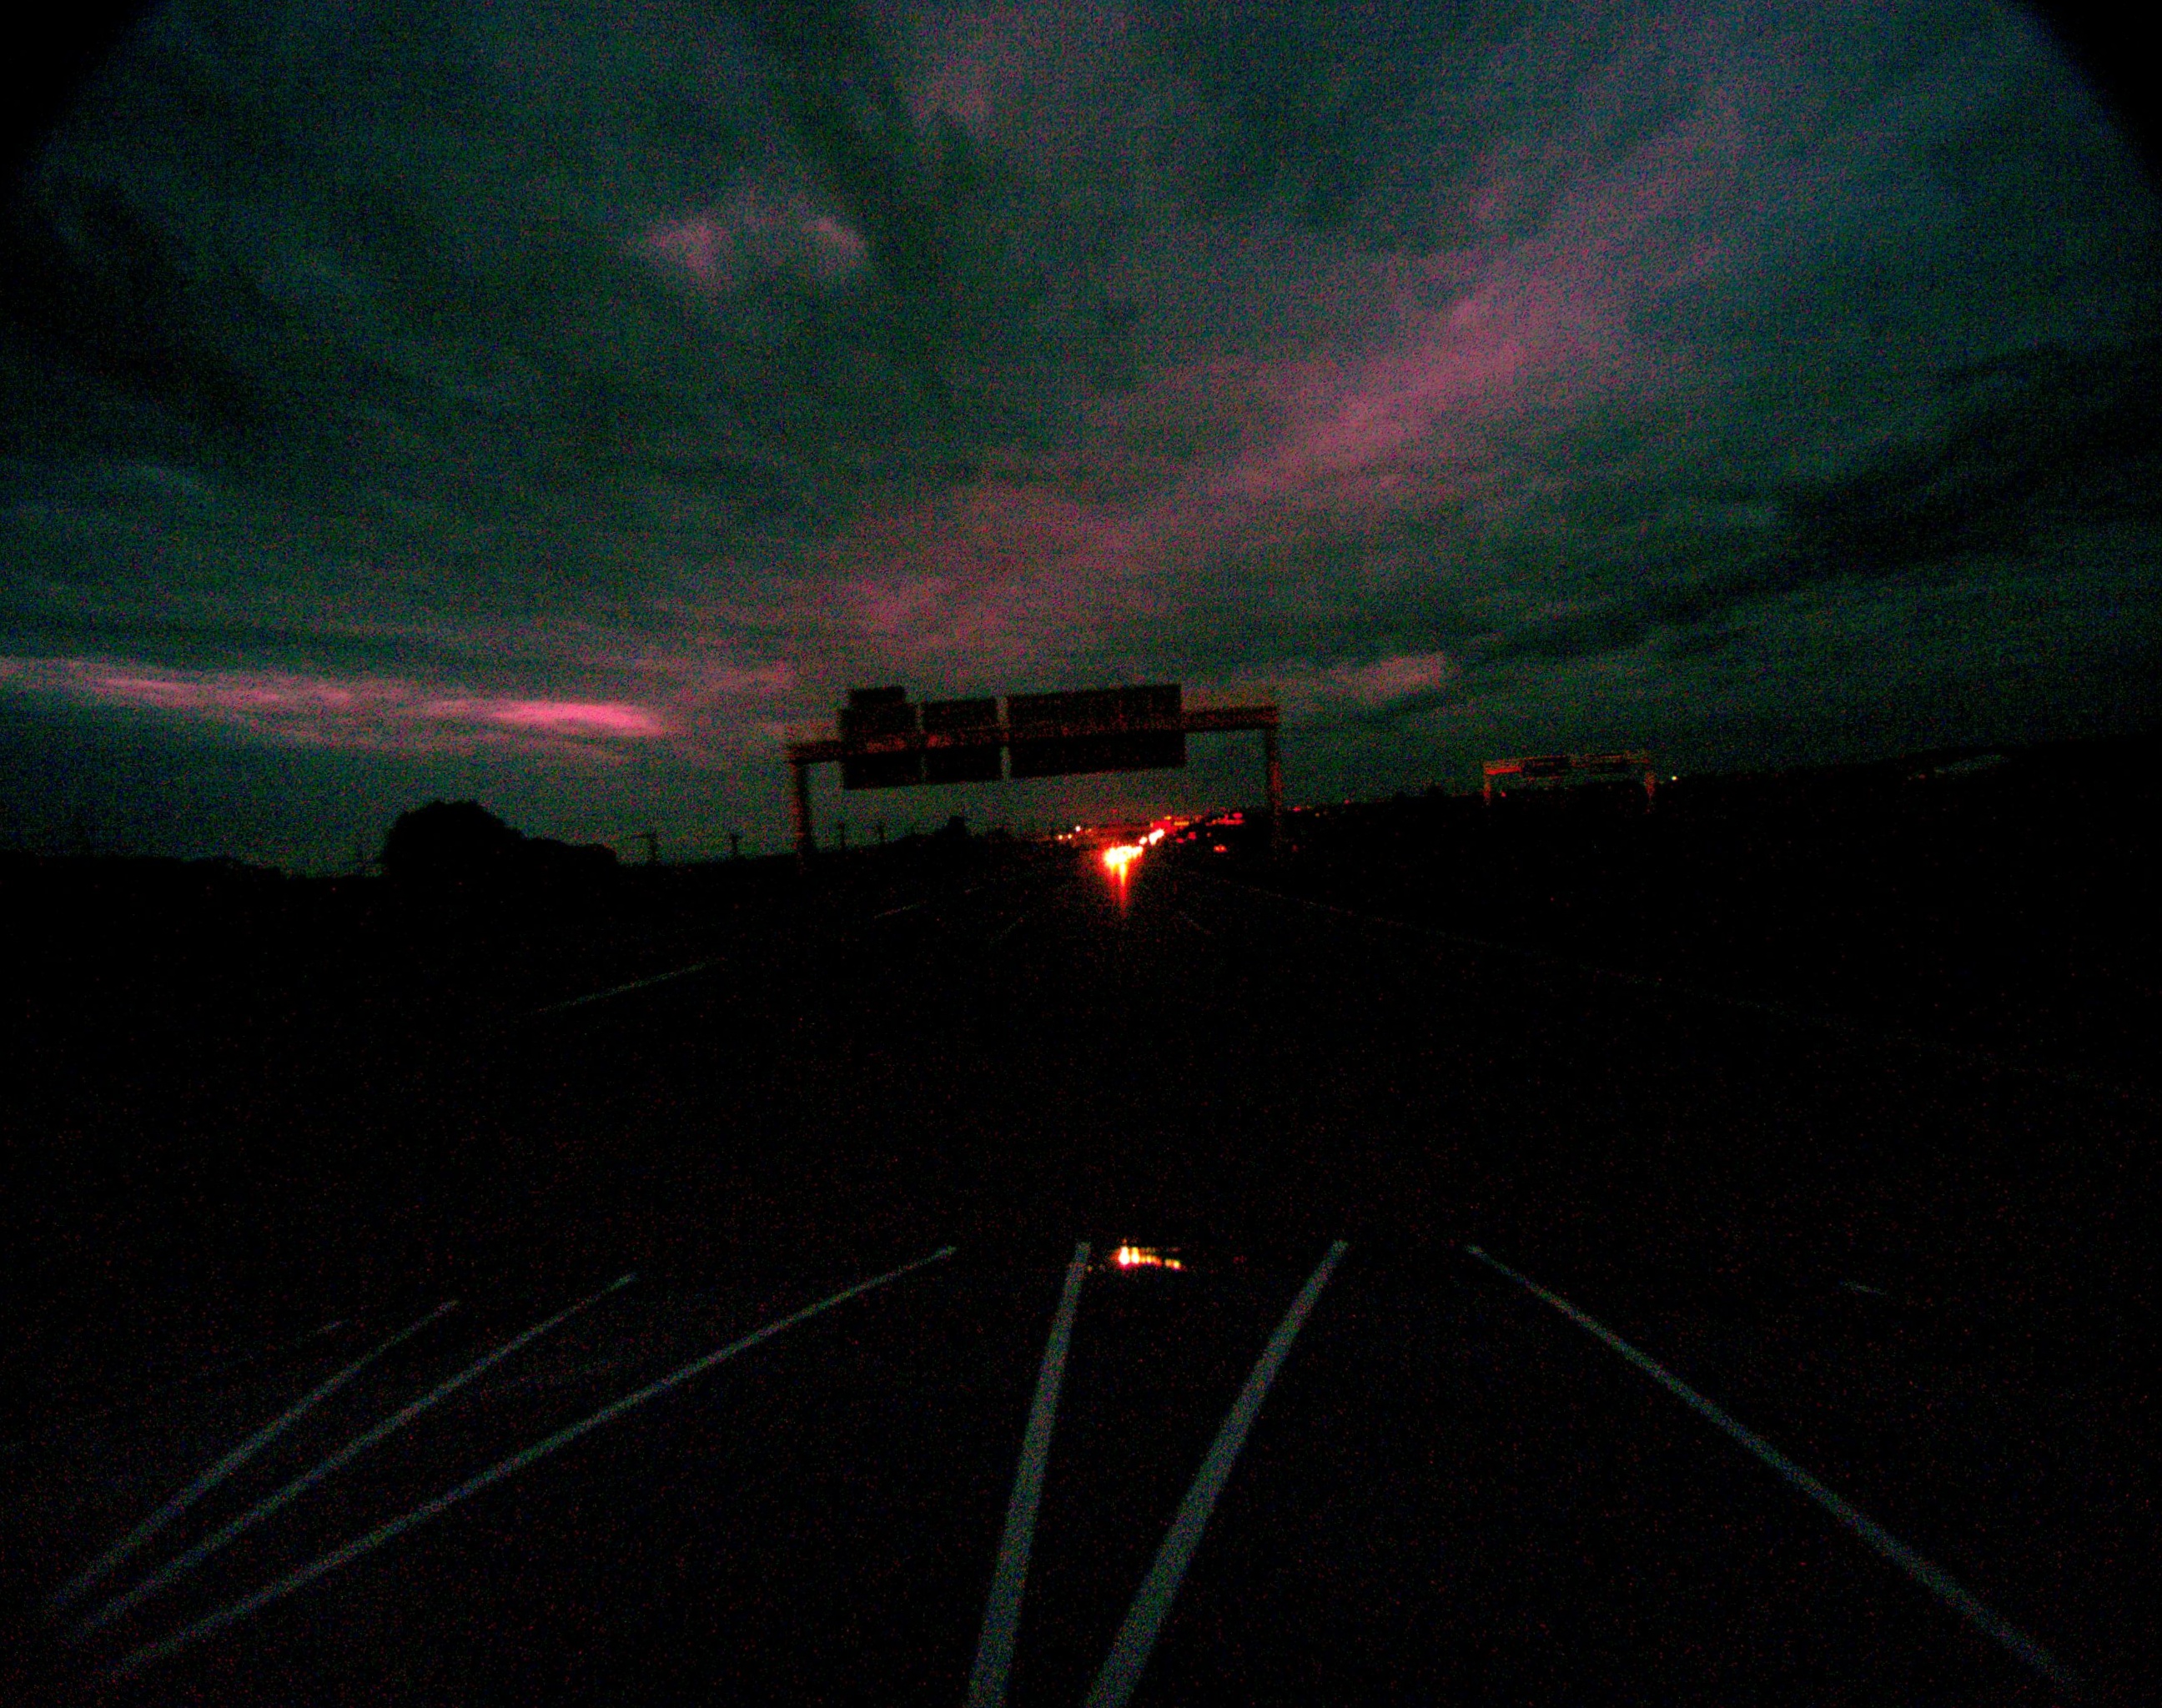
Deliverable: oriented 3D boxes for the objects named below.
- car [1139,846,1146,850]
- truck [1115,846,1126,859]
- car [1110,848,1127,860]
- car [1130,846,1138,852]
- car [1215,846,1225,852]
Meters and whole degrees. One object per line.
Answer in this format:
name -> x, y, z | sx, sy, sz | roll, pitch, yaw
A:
car -> 19.699, -2.013, 243.745 | 1.997, 1.341, 4.177 | -1, 0, 7
truck -> 13.462, -0.421, 257.192 | 3.058, 4.047, 10.525 | -2, 0, 6
car -> 4.637, -0.016, 94.545 | 1.998, 1.342, 4.175 | 0, 2, 4
car -> 13.949, -1.246, 198.448 | 1.998, 1.342, 4.176 | -4, 1, 5
car -> 32.180, -1.166, 175.731 | 1.998, 1.396, 4.330 | -3, 1, 6
